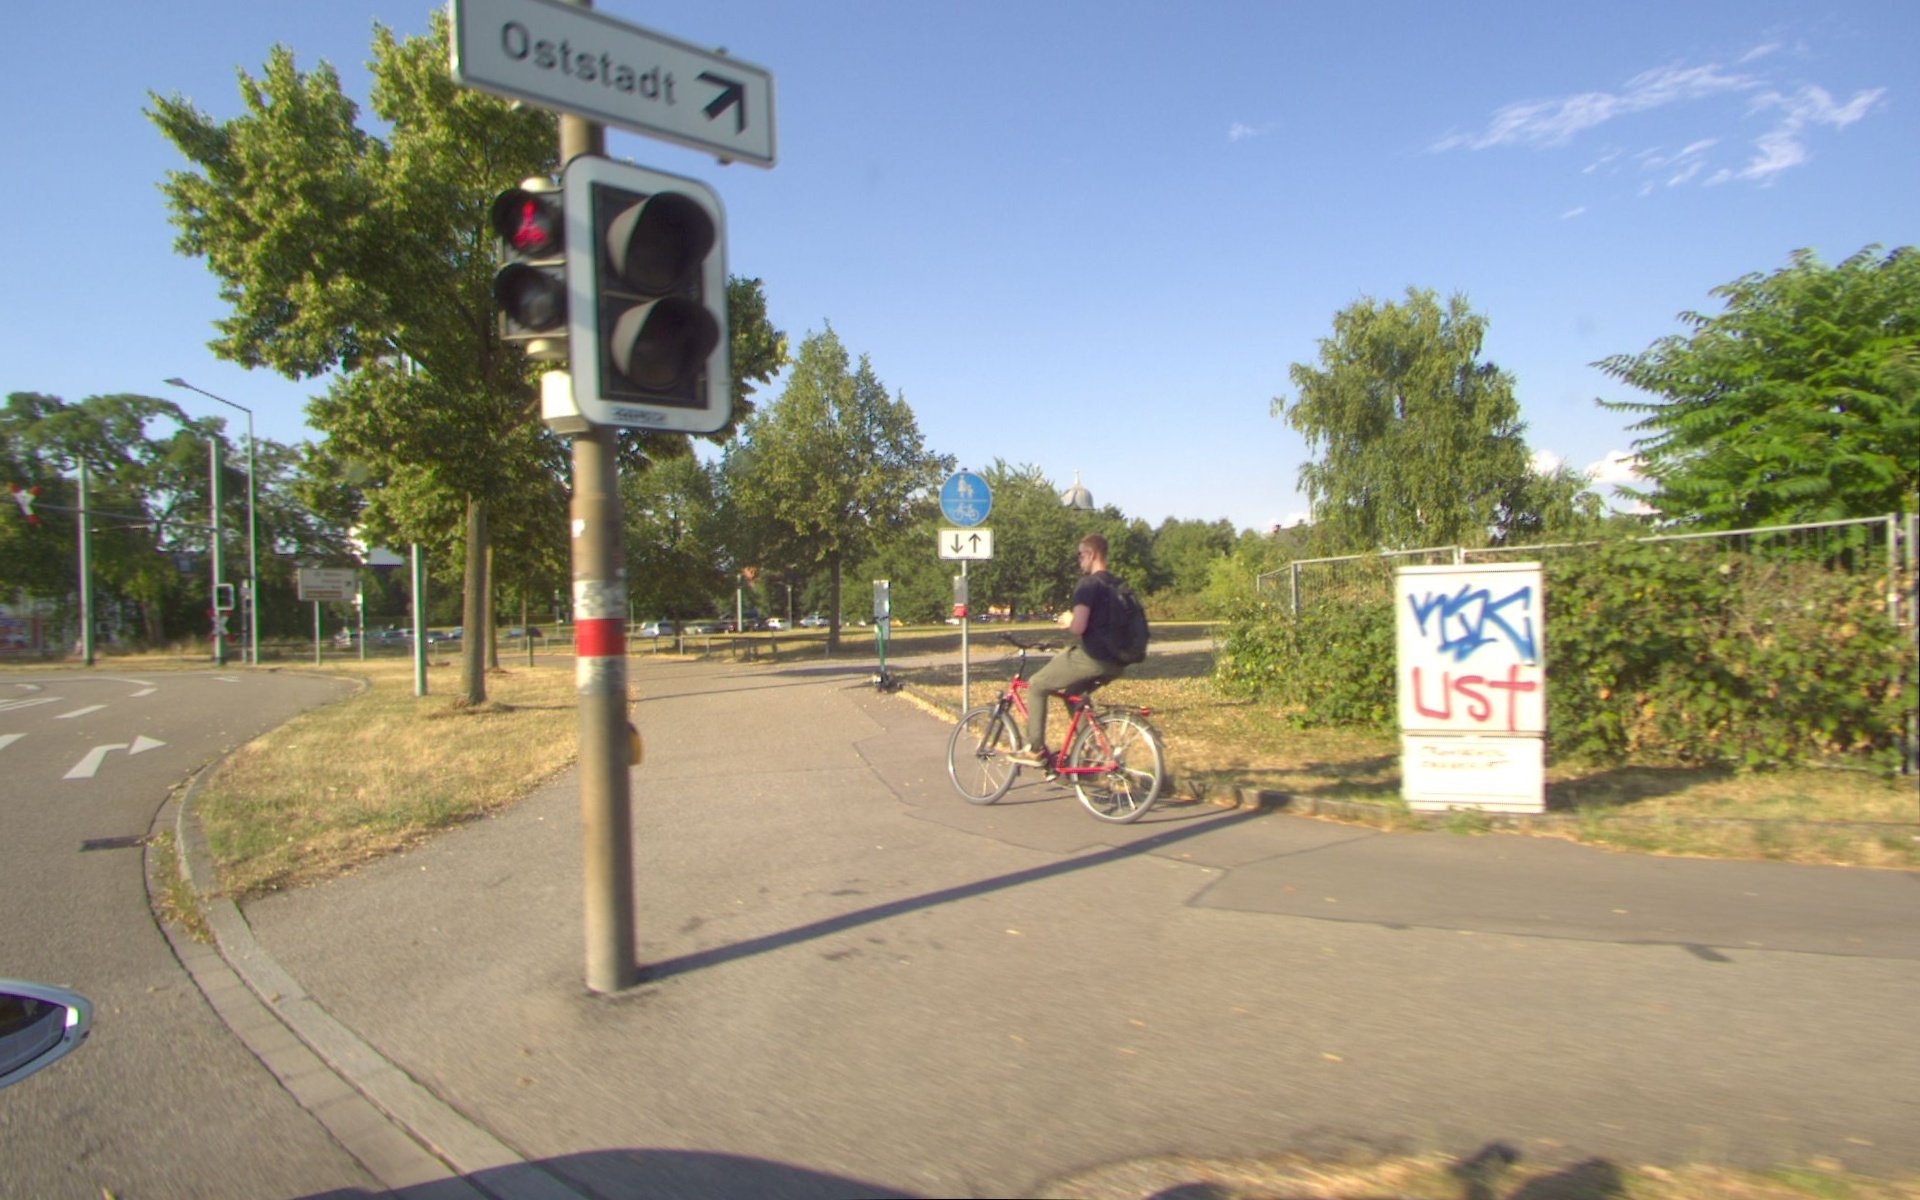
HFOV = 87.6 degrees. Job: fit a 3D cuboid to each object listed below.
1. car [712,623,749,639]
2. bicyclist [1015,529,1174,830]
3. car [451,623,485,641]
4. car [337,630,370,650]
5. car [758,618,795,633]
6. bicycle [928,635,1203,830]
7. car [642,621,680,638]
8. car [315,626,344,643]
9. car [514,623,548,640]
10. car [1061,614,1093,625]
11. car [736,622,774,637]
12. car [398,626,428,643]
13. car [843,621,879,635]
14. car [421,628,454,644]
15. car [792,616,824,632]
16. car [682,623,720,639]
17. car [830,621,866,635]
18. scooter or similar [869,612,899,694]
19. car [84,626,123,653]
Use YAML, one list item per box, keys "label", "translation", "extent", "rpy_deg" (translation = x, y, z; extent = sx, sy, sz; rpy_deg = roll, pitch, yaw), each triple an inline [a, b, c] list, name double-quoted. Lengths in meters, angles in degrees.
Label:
- label: "car"
  translation: [-22.442, 3.040, 97.815]
  extent: [1.809, 1.421, 3.962]
  rpy_deg: [-1, -1, -44]
- label: "bicyclist"
  translation: [0.894, 0.494, 6.626]
  extent: [0.818, 1.854, 0.617]
  rpy_deg: [-1, 2, 32]
- label: "car"
  translation: [-39.948, 2.592, 81.247]
  extent: [1.588, 1.420, 3.937]
  rpy_deg: [-1, -1, -39]
- label: "car"
  translation: [-45.834, 2.992, 75.676]
  extent: [1.588, 1.420, 3.937]
  rpy_deg: [-1, -1, -39]
- label: "car"
  translation: [-18.551, 2.617, 101.342]
  extent: [1.809, 1.421, 3.962]
  rpy_deg: [-1, -1, -44]
- label: "bicycle"
  translation: [0.669, 0.829, 6.777]
  extent: [1.865, 1.173, 0.414]
  rpy_deg: [-1, 0, 34]
- label: "car"
  translation: [-27.726, 2.759, 92.844]
  extent: [1.809, 1.421, 3.962]
  rpy_deg: [-1, -1, -44]
- label: "car"
  translation: [-53.639, 2.939, 85.204]
  extent: [1.588, 1.420, 3.937]
  rpy_deg: [-1, -1, -39]
- label: "car"
  translation: [-36.069, 2.668, 84.075]
  extent: [1.588, 1.327, 3.937]
  rpy_deg: [-1, -1, -39]
- label: "car"
  translation: [15.838, 2.641, 135.715]
  extent: [1.809, 1.421, 3.962]
  rpy_deg: [-1, -1, -44]
- label: "car"
  translation: [-20.370, 2.915, 99.509]
  extent: [1.809, 1.421, 3.962]
  rpy_deg: [-1, -1, -44]
- label: "car"
  translation: [-48.580, 3.070, 88.874]
  extent: [1.588, 1.420, 3.937]
  rpy_deg: [-1, -1, -39]
- label: "car"
  translation: [-10.844, 3.050, 109.214]
  extent: [1.809, 1.421, 3.962]
  rpy_deg: [-1, -1, -44]
- label: "car"
  translation: [-41.573, 2.867, 79.657]
  extent: [1.588, 1.236, 3.937]
  rpy_deg: [-1, -1, -39]
- label: "car"
  translation: [-17.923, 2.829, 118.209]
  extent: [1.809, 1.694, 3.962]
  rpy_deg: [-1, -1, -44]
- label: "car"
  translation: [-24.918, 2.978, 96.362]
  extent: [1.809, 1.421, 3.962]
  rpy_deg: [-1, -1, -44]
- label: "car"
  translation: [-11.990, 3.002, 107.340]
  extent: [1.809, 1.421, 3.962]
  rpy_deg: [-1, -1, -44]
- label: "scooter or similar"
  translation: [-1.169, 0.808, 15.606]
  extent: [0.336, 1.175, 1.170]
  rpy_deg: [-4, 2, -2]
- label: "car"
  translation: [-55.619, 2.568, 65.061]
  extent: [1.756, 1.639, 3.937]
  rpy_deg: [-1, -1, -39]
